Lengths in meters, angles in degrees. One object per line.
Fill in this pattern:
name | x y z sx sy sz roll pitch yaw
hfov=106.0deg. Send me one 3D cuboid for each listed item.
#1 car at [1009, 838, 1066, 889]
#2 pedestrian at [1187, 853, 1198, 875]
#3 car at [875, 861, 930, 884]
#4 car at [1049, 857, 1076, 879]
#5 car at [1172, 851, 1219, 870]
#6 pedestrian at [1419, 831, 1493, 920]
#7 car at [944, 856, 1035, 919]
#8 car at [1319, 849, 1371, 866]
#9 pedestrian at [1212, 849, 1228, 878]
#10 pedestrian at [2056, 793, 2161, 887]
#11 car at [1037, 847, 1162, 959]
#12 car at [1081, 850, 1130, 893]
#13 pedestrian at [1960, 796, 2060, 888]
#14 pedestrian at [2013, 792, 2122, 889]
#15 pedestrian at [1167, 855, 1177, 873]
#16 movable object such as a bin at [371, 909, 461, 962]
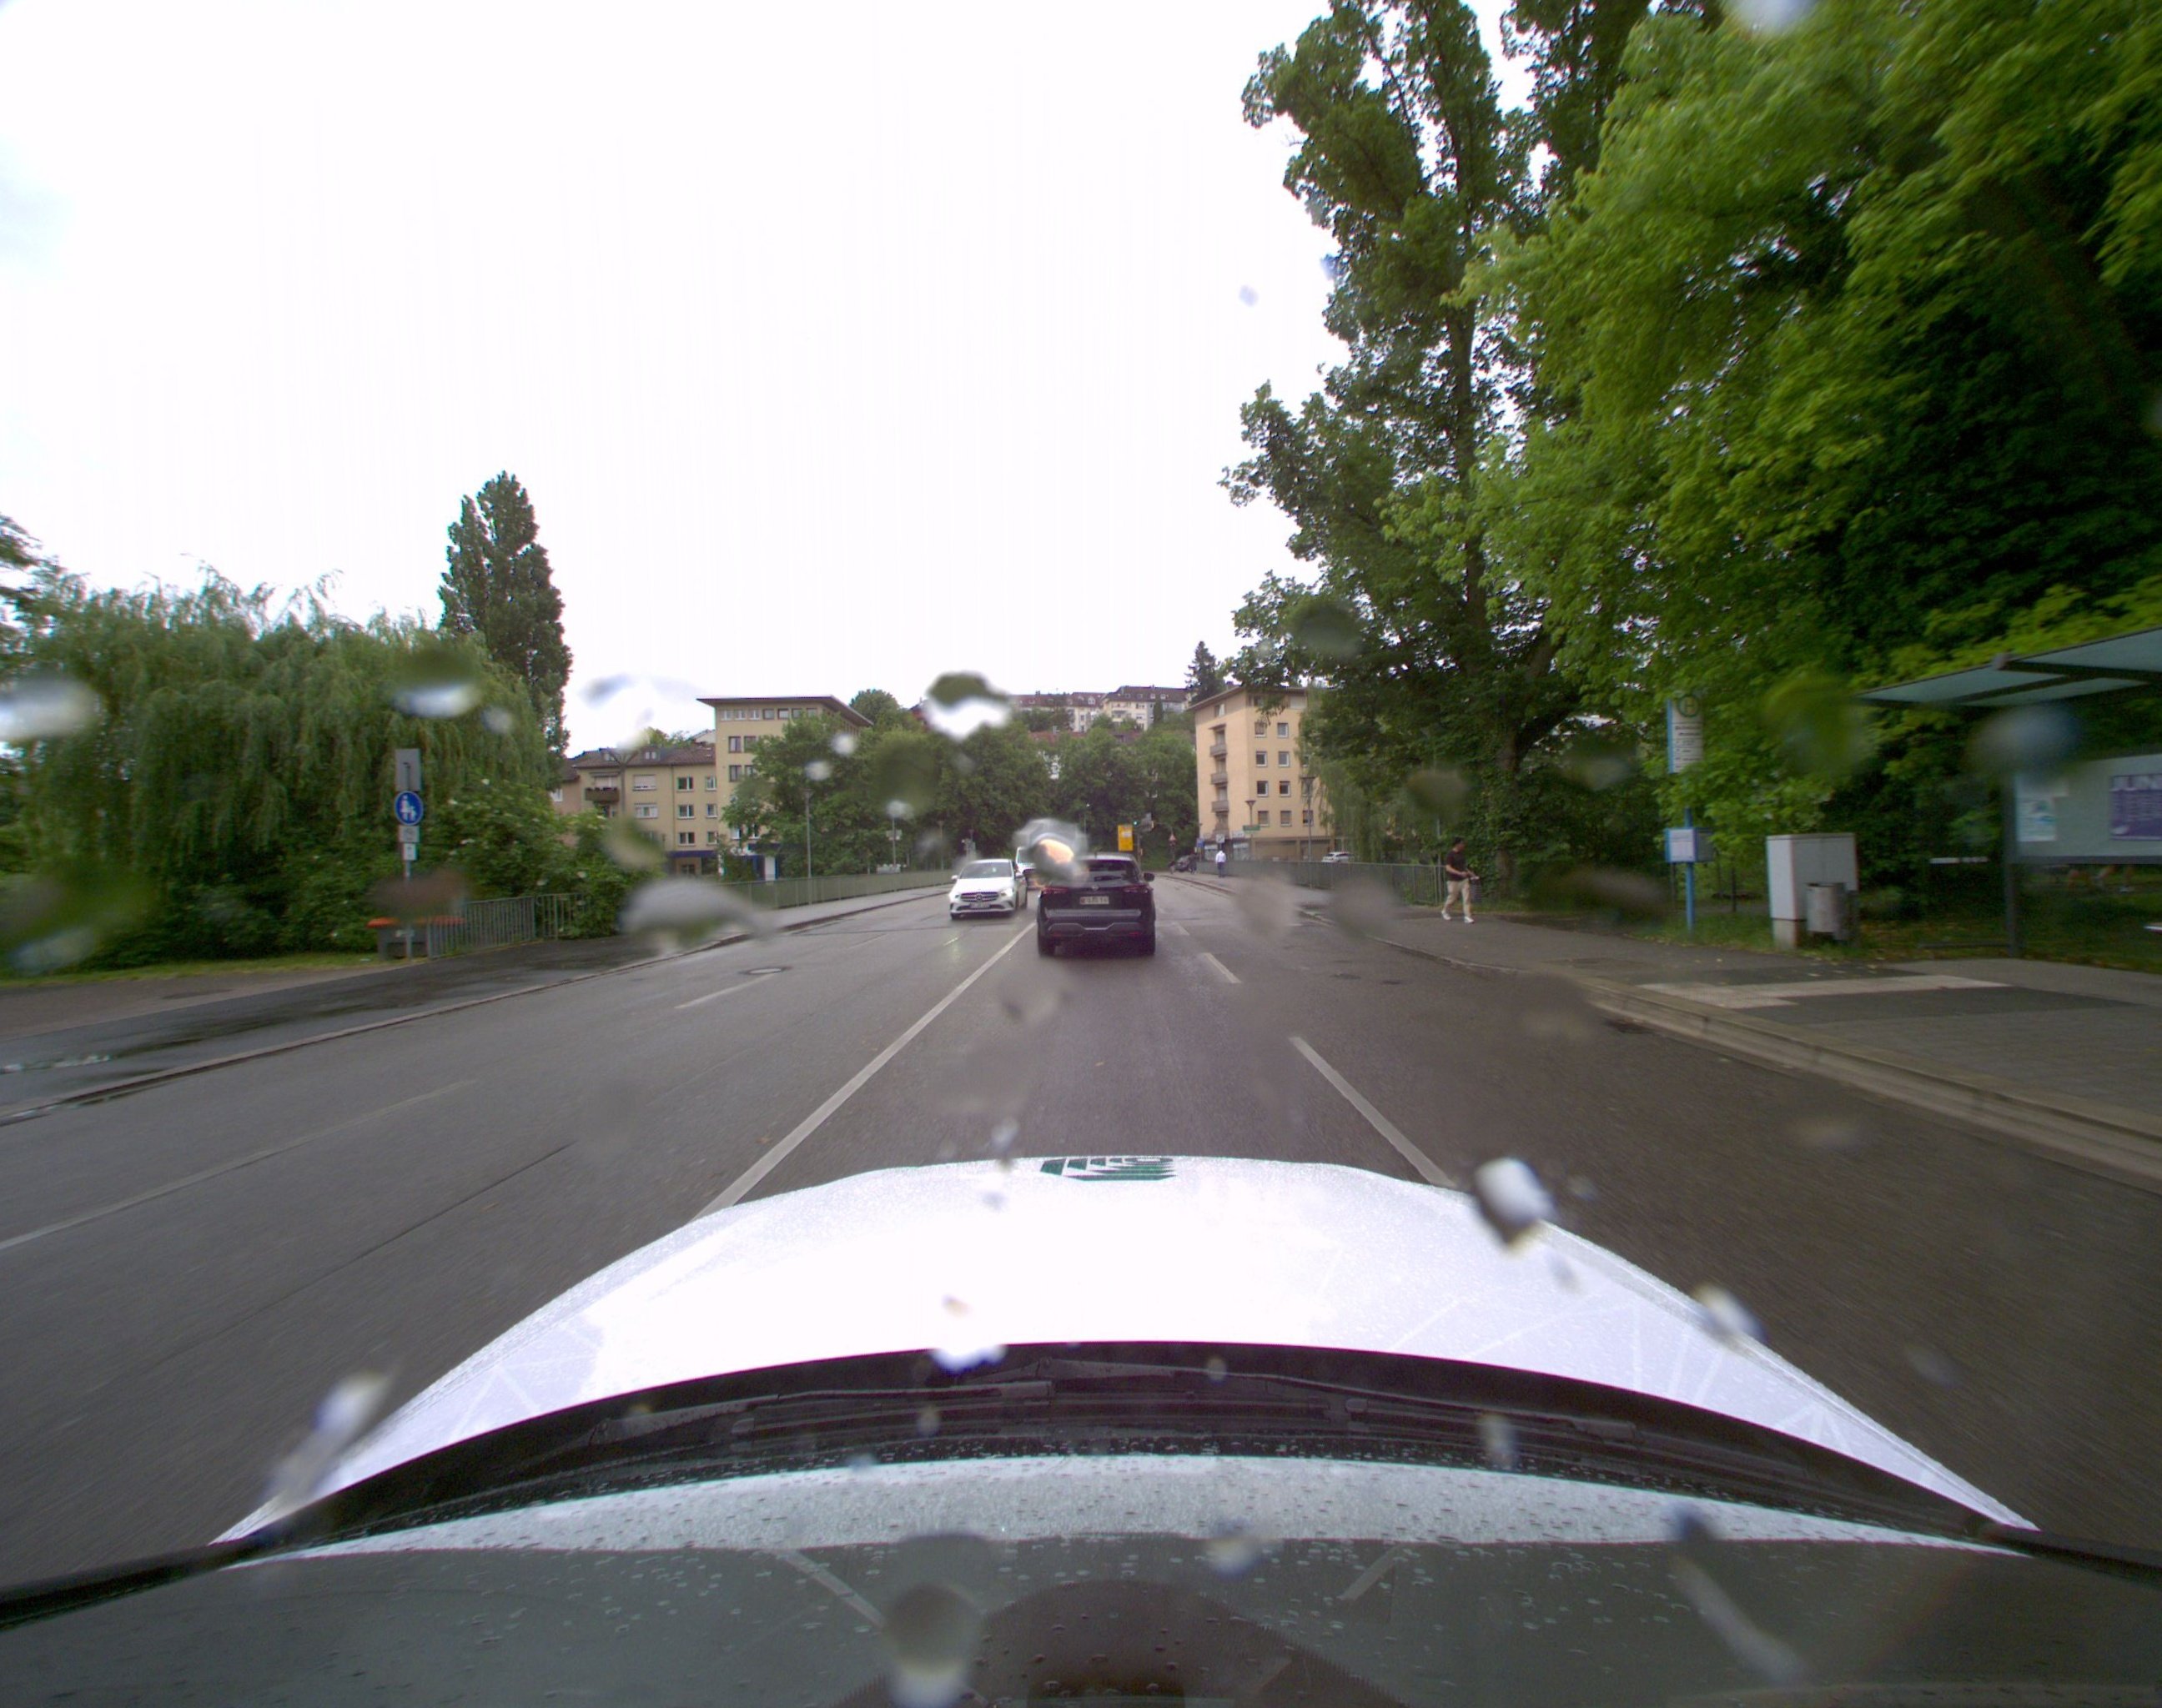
car | -2.140 0.425 41.772 2.281 2.308 6.511 -3 0 1
pedestrian | 8.933 0.773 65.253 0.758 1.677 0.781 -4 0 2
car | -16.633 1.705 76.086 4.738 1.854 1.995 -2 1 -7
car | -1.323 1.012 59.662 1.739 1.439 4.002 -3 0 2
car | 11.725 0.644 83.231 4.387 1.649 1.868 -3 -1 -24
pedestrian | 7.517 0.419 16.381 0.844 1.676 1.168 -4 -1 1
car | -2.477 0.871 22.948 1.774 1.474 4.171 -3 0 3
car | 25.261 0.350 78.002 4.447 1.376 1.808 -2 2 -15
pedestrian | 8.524 0.595 49.921 0.777 1.752 1.061 -2 -1 1
pedestrian | 19.904 -0.258 15.770 1.055 1.752 0.781 -2 -1 -4
car | 0.326 0.717 13.900 1.804 1.603 4.002 -1 0 2
car | 0.977 0.668 32.609 1.804 1.603 4.001 0 0 2
pedestrian | 18.511 -0.229 16.253 1.055 1.752 0.781 -2 -1 -4
pedestrian | 18.609 -0.252 15.382 1.055 1.752 0.781 -2 -1 -4
pedestrian | 8.735 0.975 78.180 0.859 1.619 0.840 -3 -1 2
movable object such as a bin | -12.471 1.517 15.298 0.962 0.877 0.833 -2 -1 1
